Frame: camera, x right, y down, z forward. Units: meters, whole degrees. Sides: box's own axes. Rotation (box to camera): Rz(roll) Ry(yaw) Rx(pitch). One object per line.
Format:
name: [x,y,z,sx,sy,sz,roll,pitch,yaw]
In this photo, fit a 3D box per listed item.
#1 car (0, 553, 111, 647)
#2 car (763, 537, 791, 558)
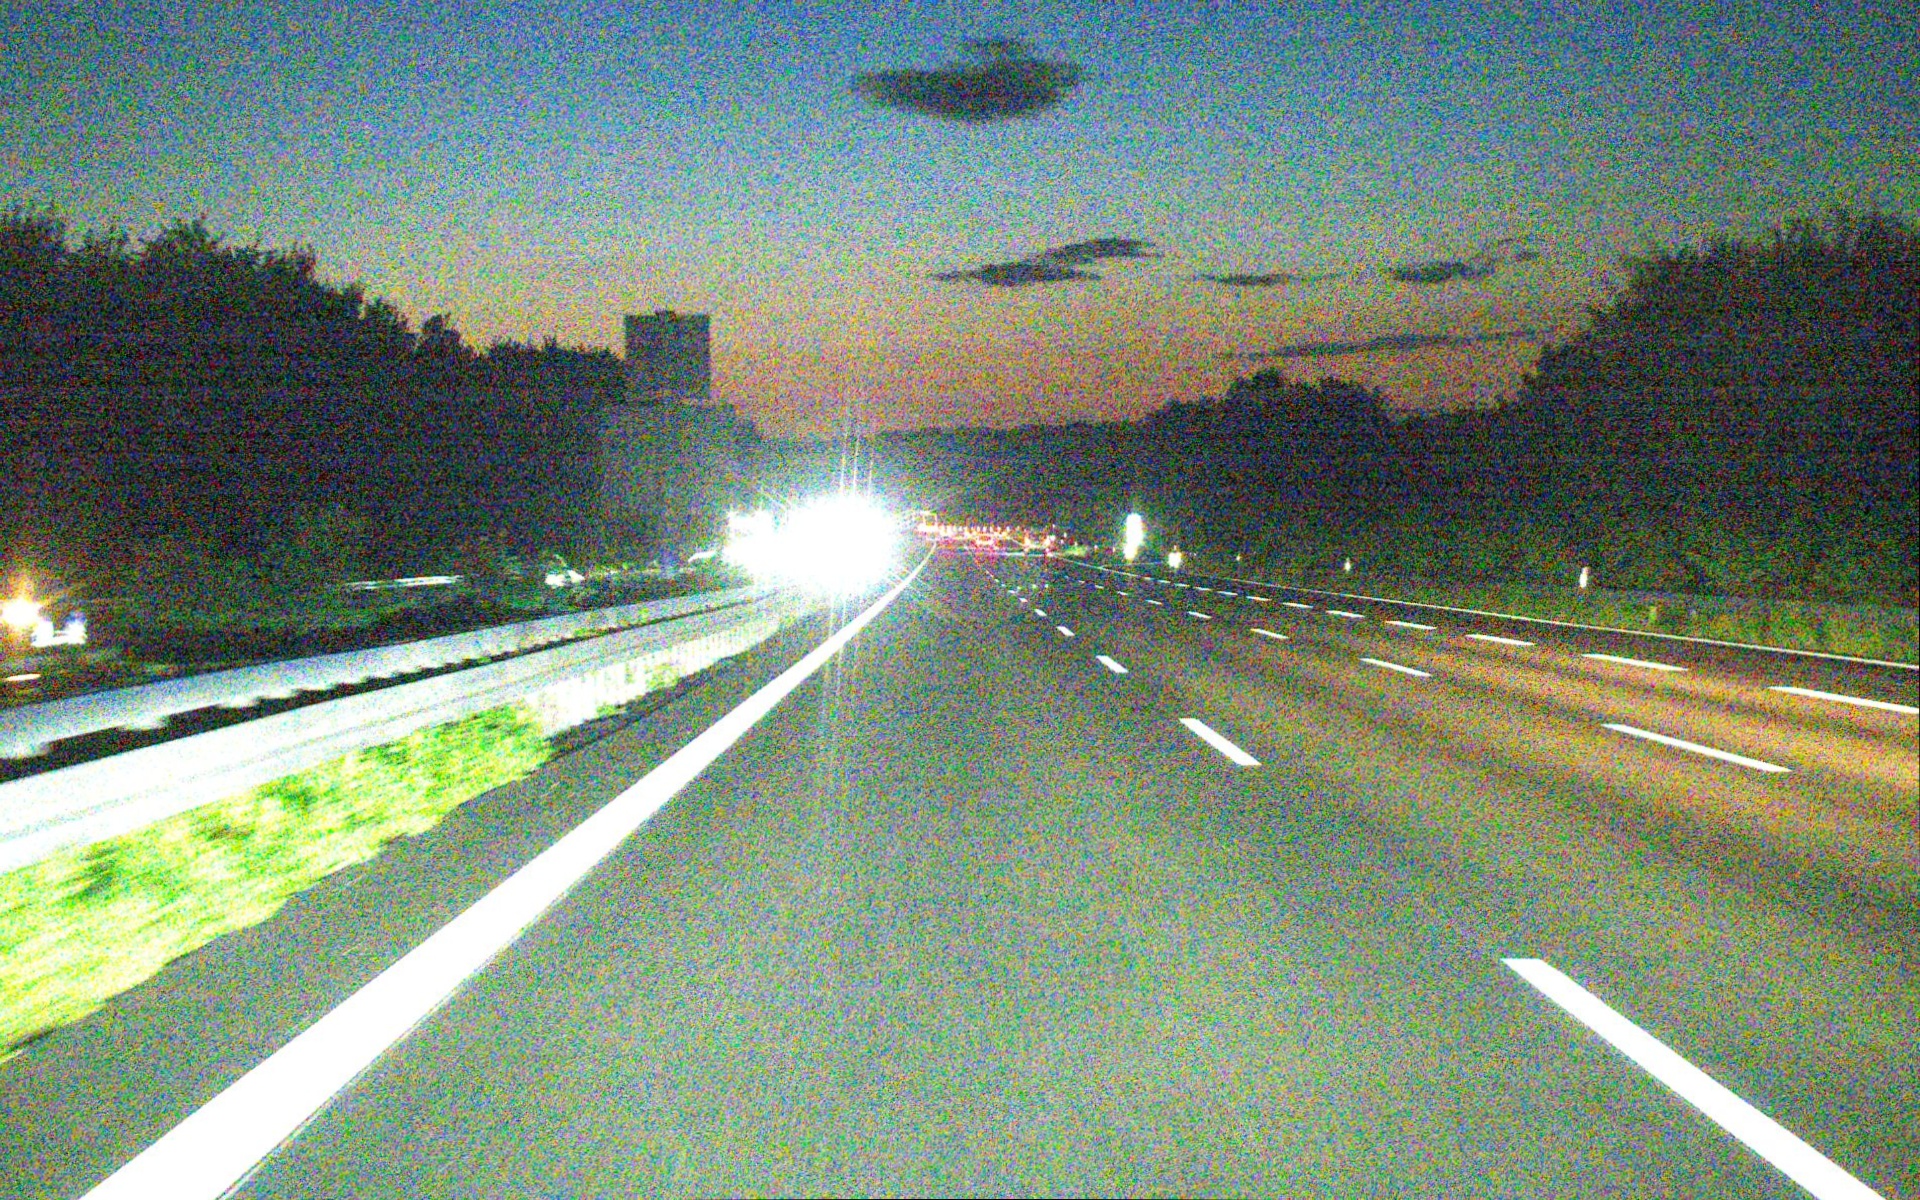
car: [-16.678,0.008,60.870,1.993,1.546,5.005,-3,1,0]
car: [-13.598,-3.883,255.615,1.993,1.456,4.693,-2,1,-3]
